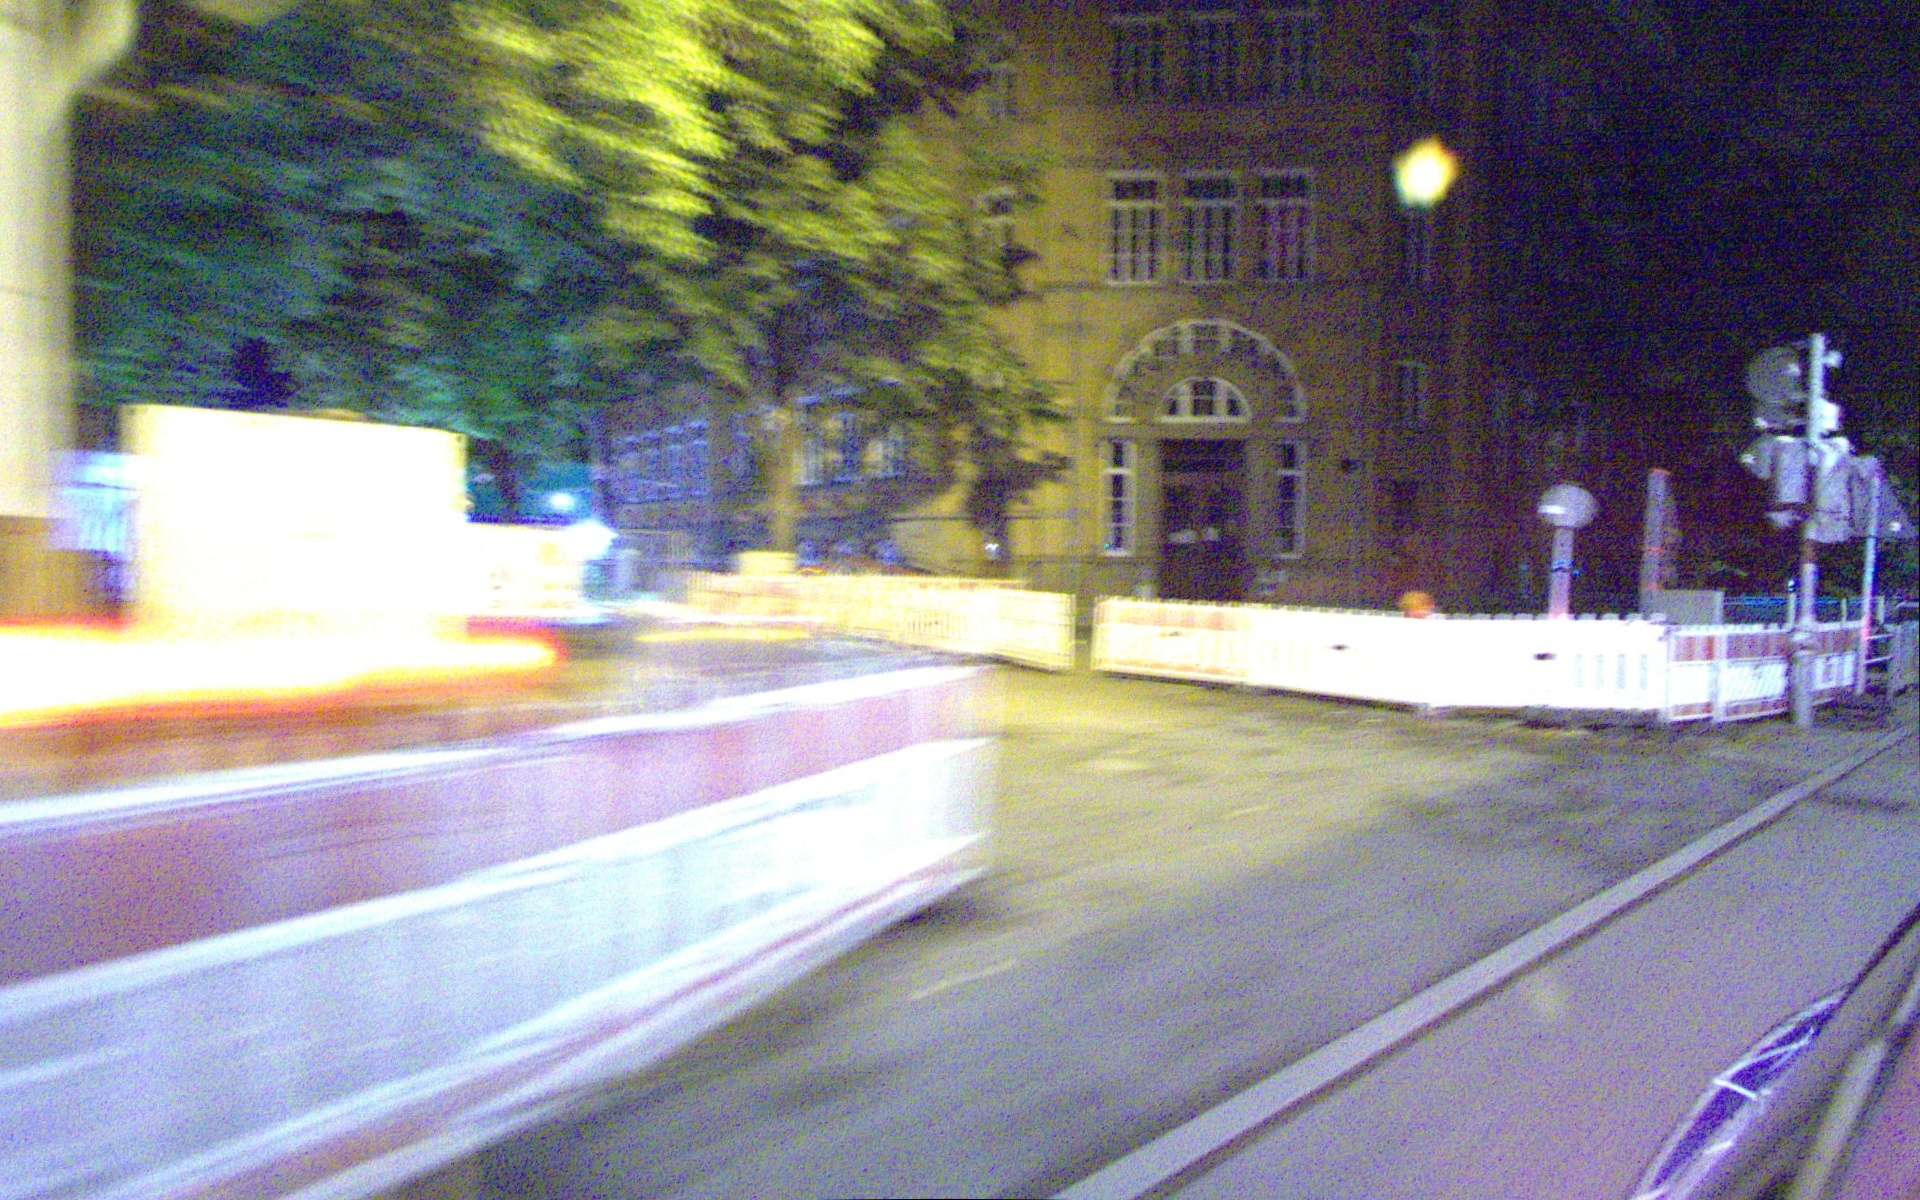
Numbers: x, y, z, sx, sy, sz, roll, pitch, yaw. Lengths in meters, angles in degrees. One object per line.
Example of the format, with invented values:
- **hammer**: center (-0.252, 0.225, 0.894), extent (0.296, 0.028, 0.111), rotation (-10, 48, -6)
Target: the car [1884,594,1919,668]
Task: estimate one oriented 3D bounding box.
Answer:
- **car**: center (20.779, 0.631, 21.184), extent (4.250, 1.436, 1.730), rotation (0, 2, -43)
